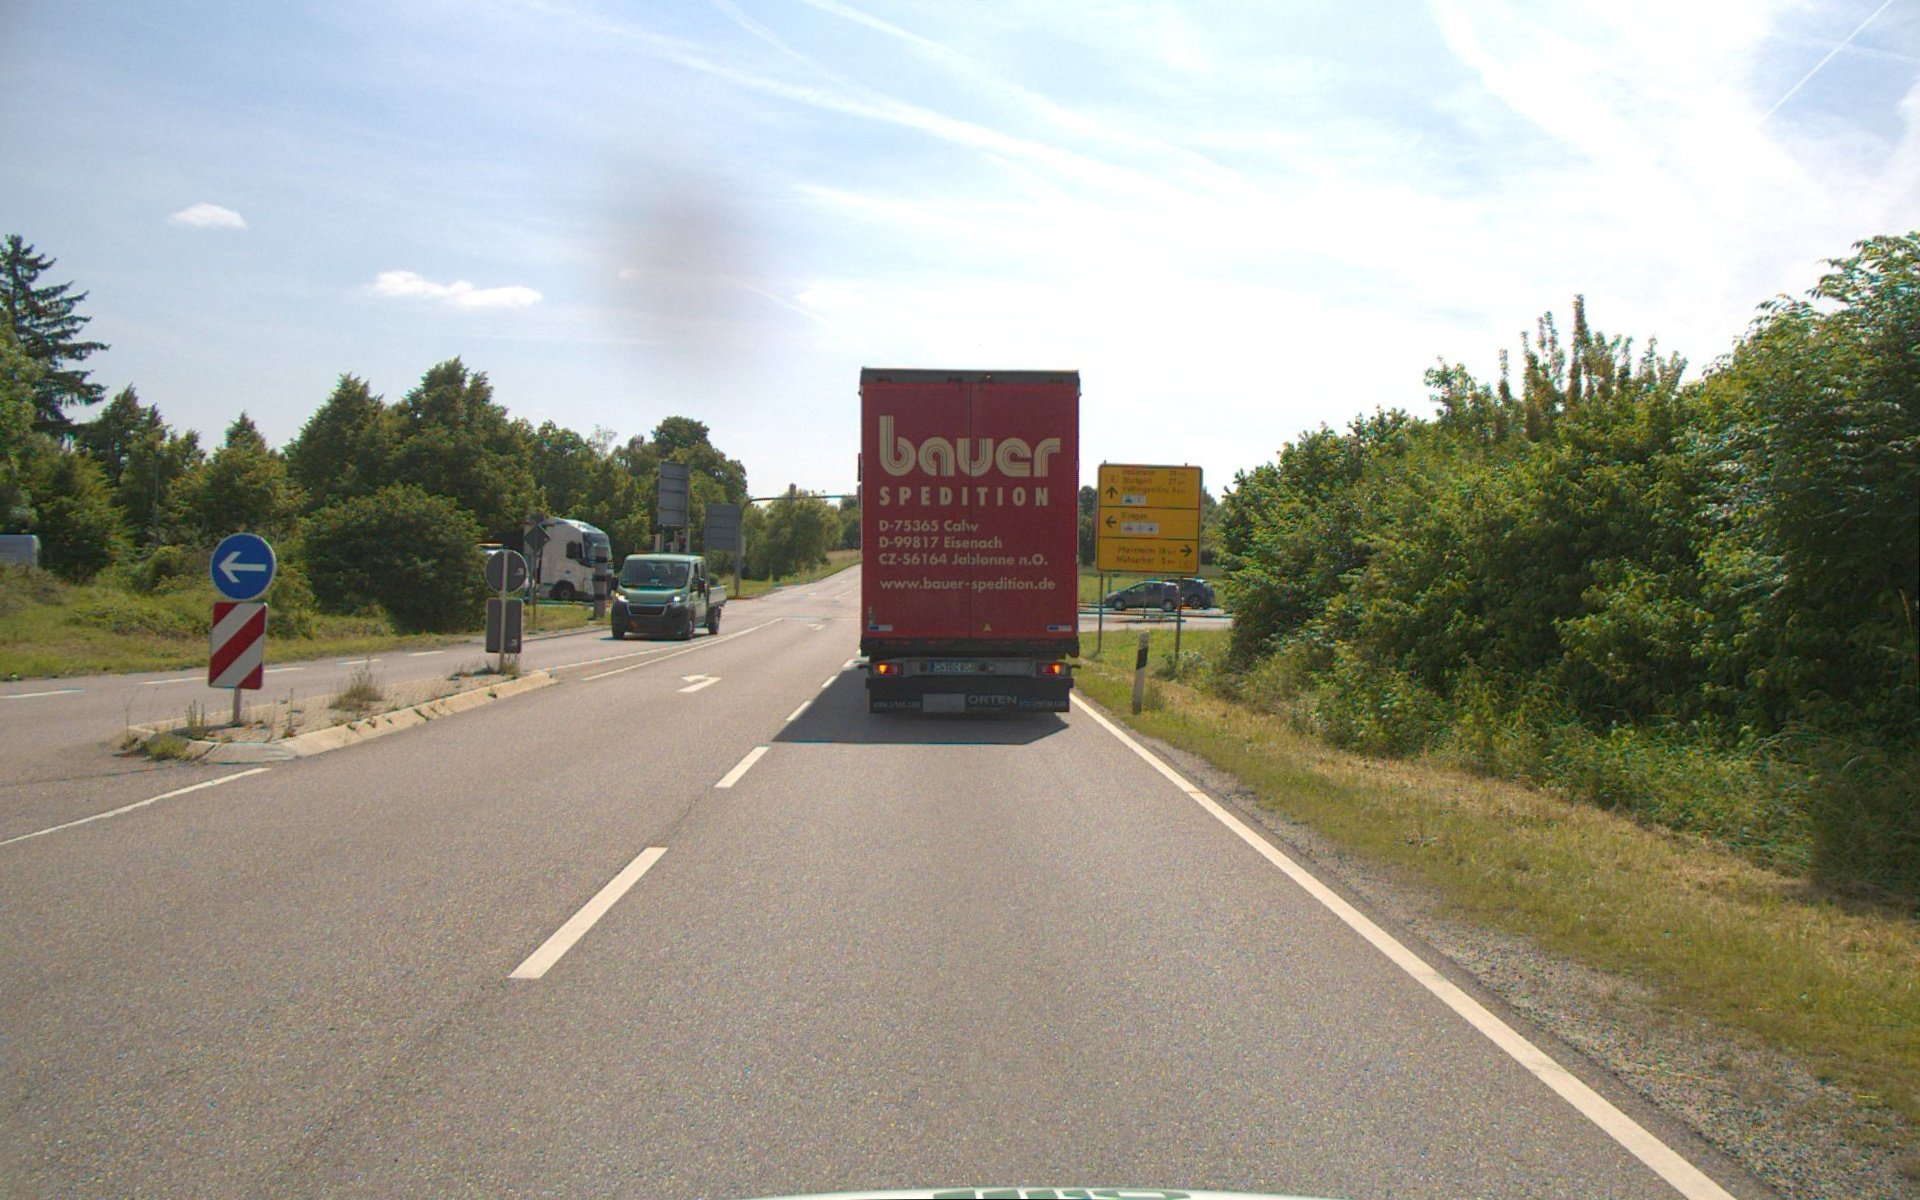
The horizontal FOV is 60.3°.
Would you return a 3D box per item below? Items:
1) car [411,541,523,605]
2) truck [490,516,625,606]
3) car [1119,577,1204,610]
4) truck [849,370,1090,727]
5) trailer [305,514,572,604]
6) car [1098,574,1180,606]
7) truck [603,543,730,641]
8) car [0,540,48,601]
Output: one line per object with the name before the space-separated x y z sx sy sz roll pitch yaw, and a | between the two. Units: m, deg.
car | -22.170 -1.200 74.192 5.882 2.701 2.110 1 -1 43
truck | -19.345 -1.910 79.552 5.705 4.131 2.799 1 1 19
car | 10.684 -0.363 87.740 4.192 1.685 1.697 1 0 29
truck | -0.140 -0.707 26.998 2.679 3.993 16.620 1 1 -2
trailer | -25.788 -2.085 81.614 13.397 4.131 2.800 1 1 17
car | 9.013 -0.500 83.129 3.902 1.454 2.002 1 0 12
truck | -7.837 -0.222 44.817 2.196 2.416 6.350 2 0 0
car | -36.681 -1.158 61.629 4.523 2.218 1.985 2 0 -24
